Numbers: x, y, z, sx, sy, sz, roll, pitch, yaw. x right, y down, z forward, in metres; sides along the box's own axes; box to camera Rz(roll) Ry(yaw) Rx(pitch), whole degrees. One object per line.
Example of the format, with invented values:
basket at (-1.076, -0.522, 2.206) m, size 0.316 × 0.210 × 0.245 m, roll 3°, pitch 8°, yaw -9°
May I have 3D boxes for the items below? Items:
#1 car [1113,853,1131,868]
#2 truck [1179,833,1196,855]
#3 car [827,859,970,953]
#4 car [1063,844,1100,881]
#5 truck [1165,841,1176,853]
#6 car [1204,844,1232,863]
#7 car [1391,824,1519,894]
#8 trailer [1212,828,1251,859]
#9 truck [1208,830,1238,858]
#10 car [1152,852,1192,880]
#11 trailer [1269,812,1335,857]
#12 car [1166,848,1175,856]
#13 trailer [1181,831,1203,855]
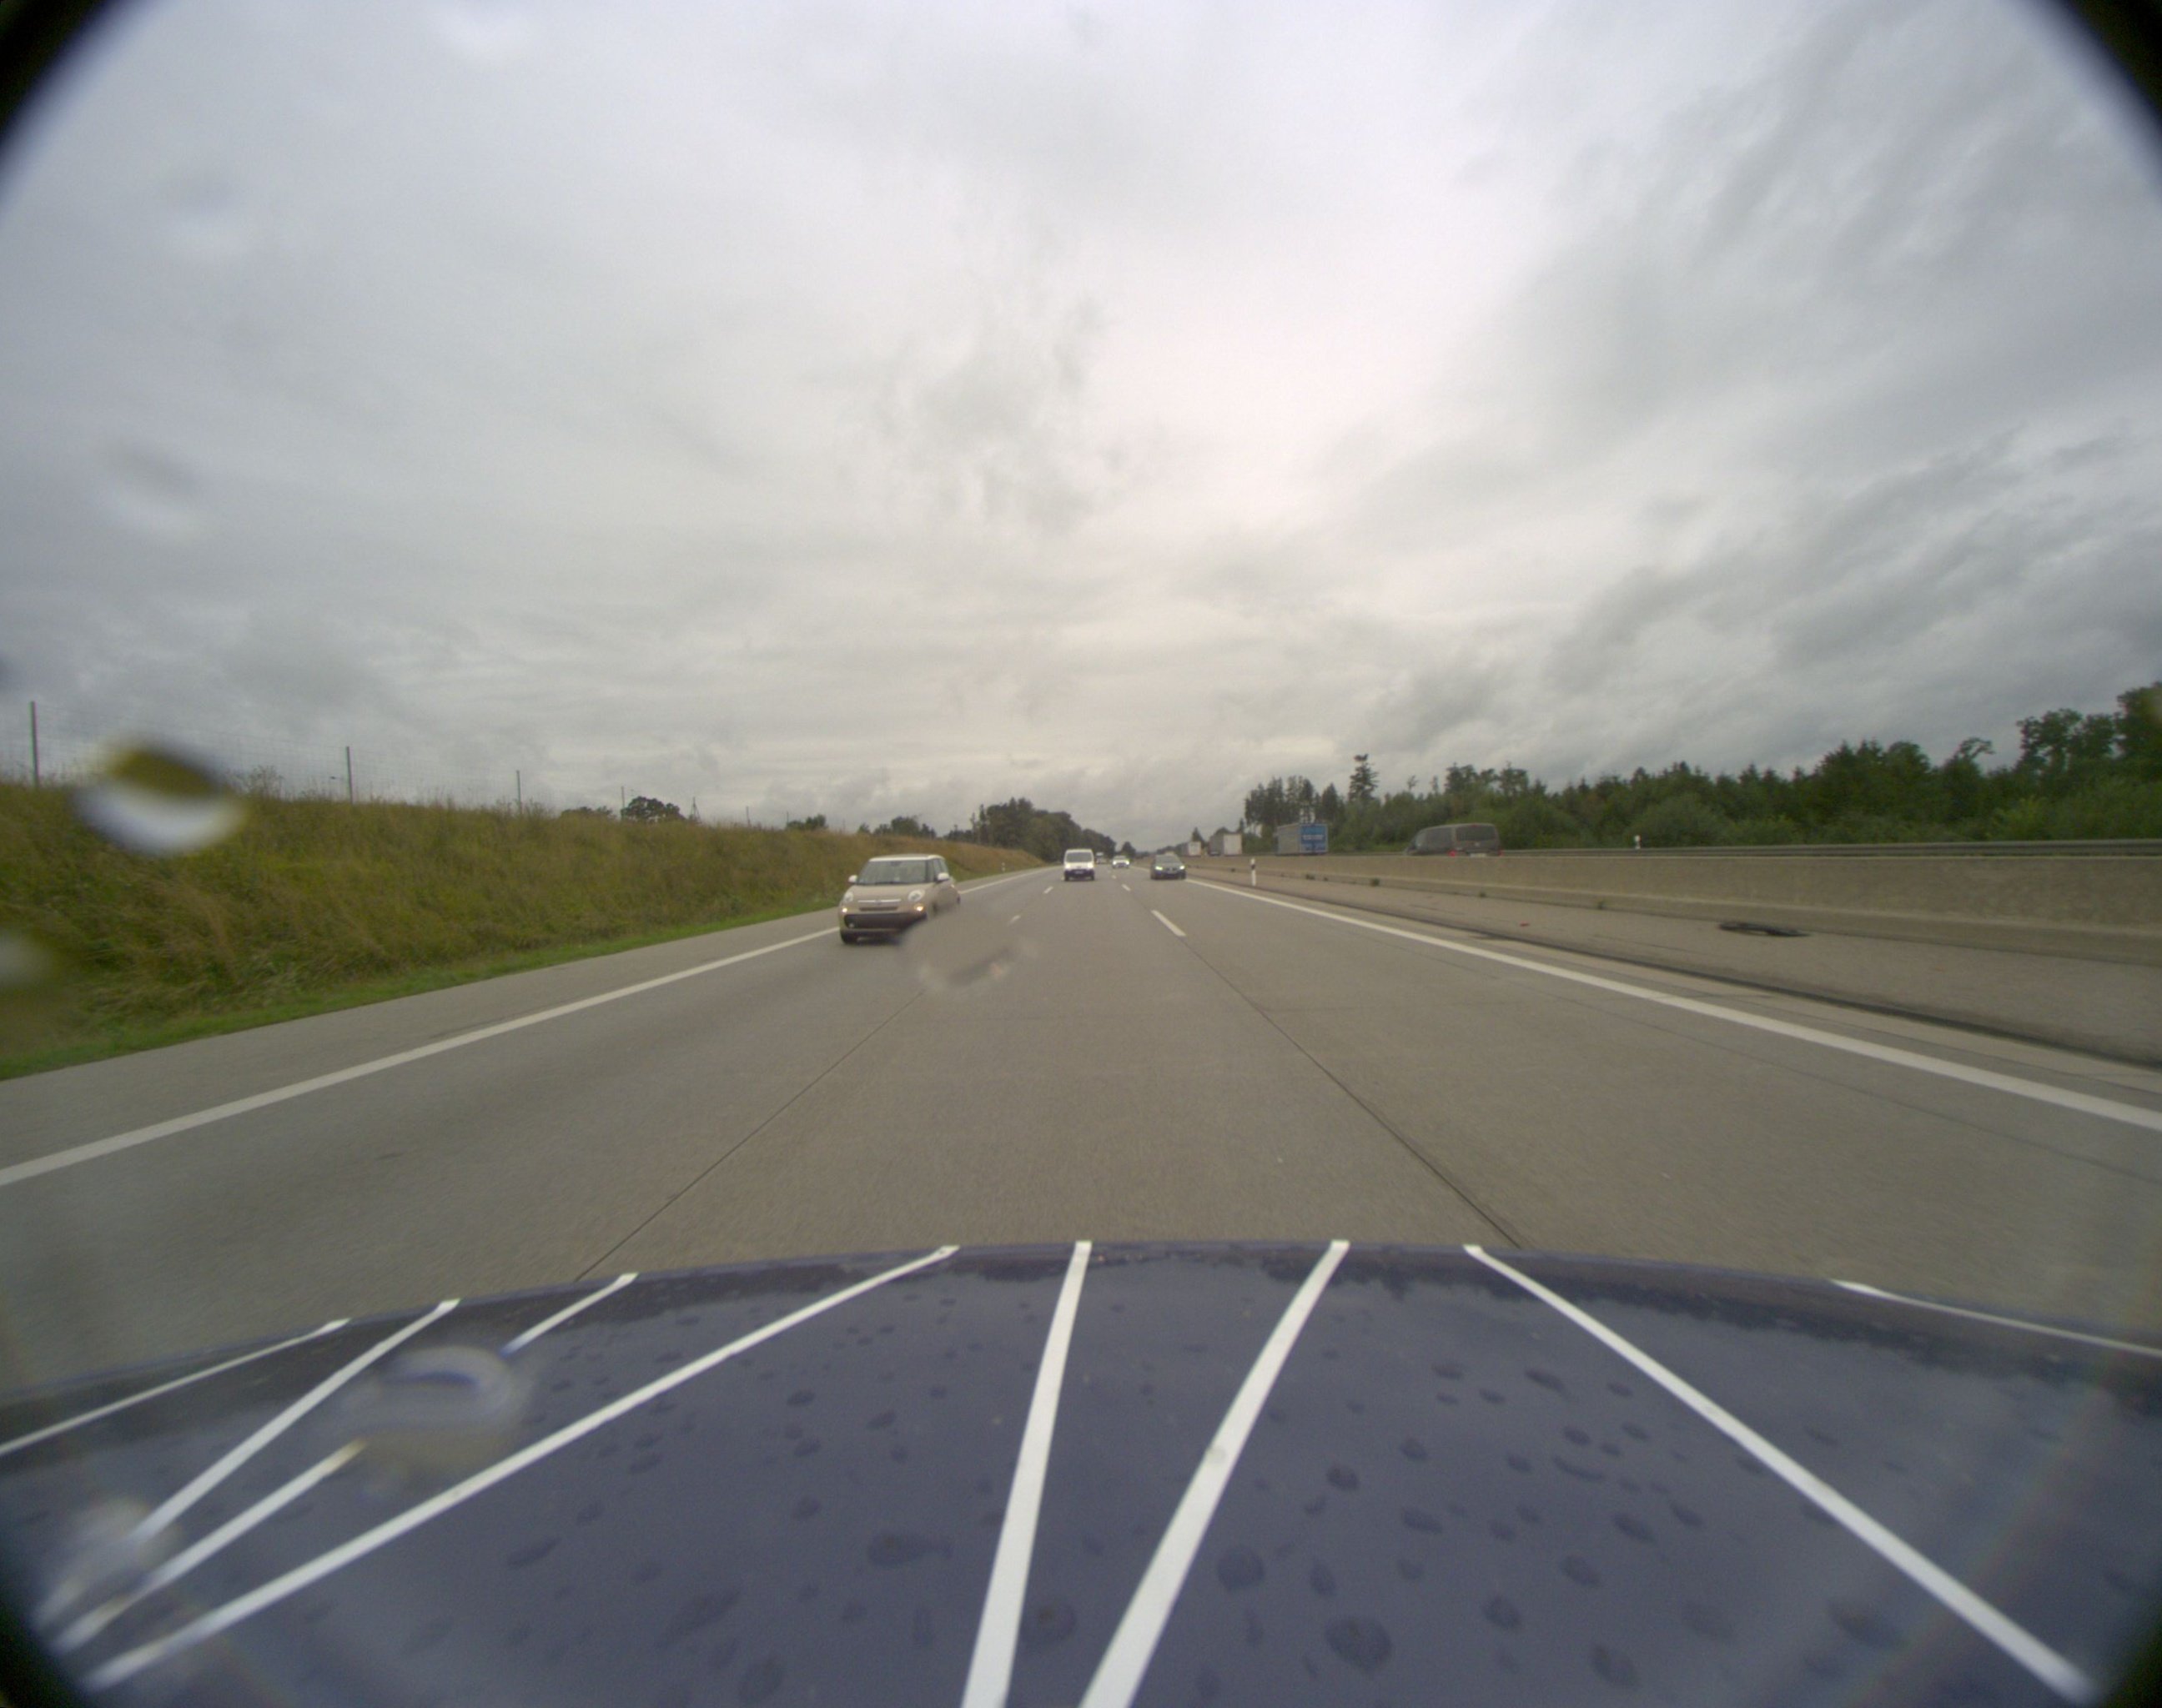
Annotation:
car at (4.922, 0.706, 89.901) m, size 2.031 × 1.669 × 4.320 m, roll -2°, pitch 0°, yaw 4°
truck at (23.240, -2.134, 166.257) m, size 2.935 × 4.649 × 5.233 m, roll -2°, pitch 0°, yaw 1°
car at (-3.600, 0.952, 15.886) m, size 1.789 × 1.595 × 4.571 m, roll -2°, pitch 0°, yaw 1°
car at (0.098, 0.529, 47.612) m, size 2.043 × 2.111 × 6.068 m, roll -2°, pitch 0°, yaw 1°
truck at (29.236, -2.200, 248.678) m, size 2.905 × 3.841 × 8.901 m, roll -2°, pitch 0°, yaw 2°
car at (13.027, -0.067, 72.259) m, size 1.998 × 1.674 × 3.535 m, roll -2°, pitch 0°, yaw 1°
car at (12.711, 0.168, 26.234) m, size 1.998 × 2.134 × 4.863 m, roll -2°, pitch 0°, yaw 1°
trailer at (22.166, -1.446, 112.925) m, size 3.491 × 4.177 × 12.930 m, roll -2°, pitch 0°, yaw 2°
truck at (22.427, -1.473, 120.376) m, size 3.478 × 4.158 × 6.494 m, roll -2°, pitch 0°, yaw 2°
car at (5.175, 0.649, 43.863) m, size 1.789 × 1.472 × 4.571 m, roll -2°, pitch 0°, yaw 1°
trailer at (20.775, -1.721, 72.467) m, size 2.856 × 3.814 × 12.400 m, roll -2°, pitch 0°, yaw 1°
car at (19.991, -0.451, 169.165) m, size 1.618 × 1.641 × 4.295 m, roll -2°, pitch 0°, yaw 2°
trailer at (22.967, -2.173, 158.164) m, size 2.923 × 4.598 × 13.638 m, roll -2°, pitch 0°, yaw 2°
